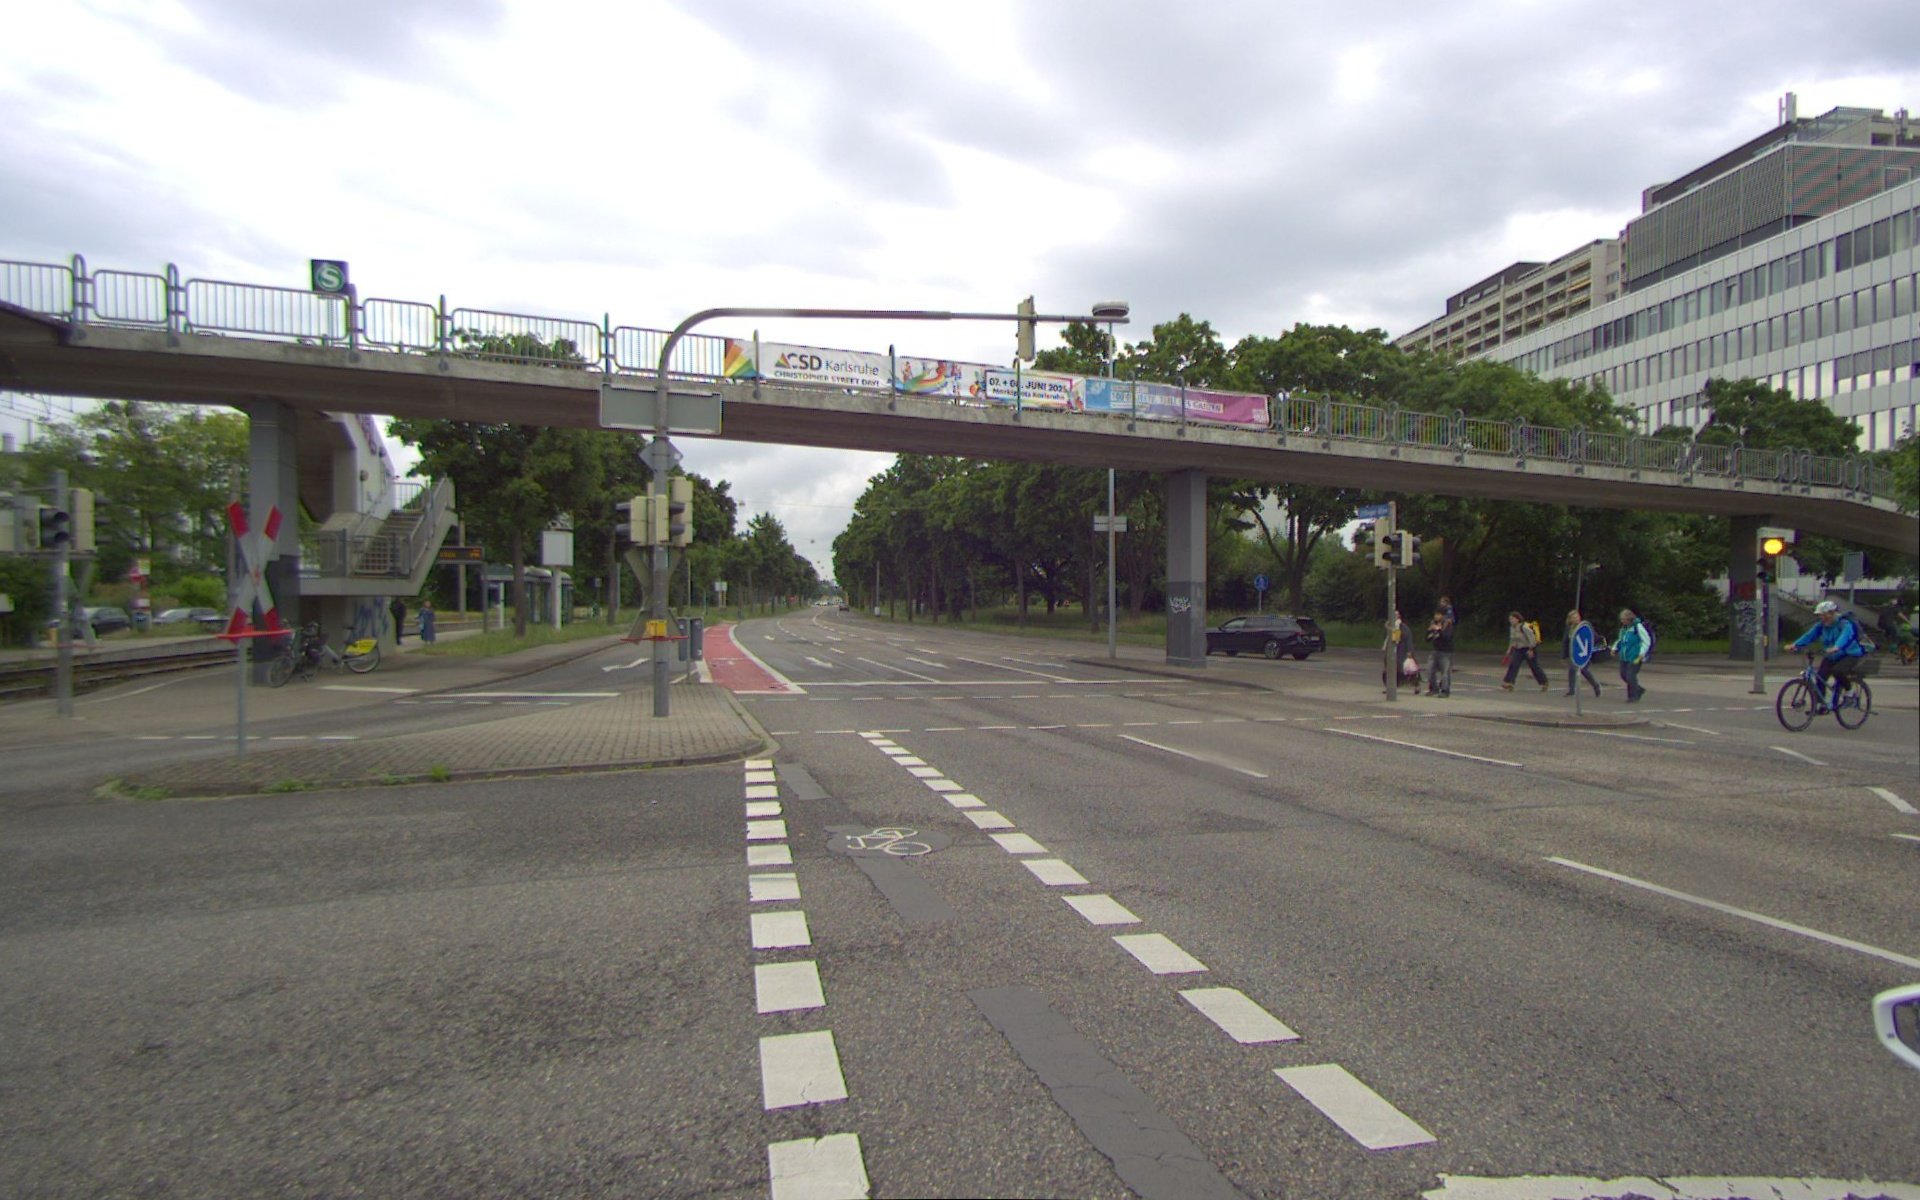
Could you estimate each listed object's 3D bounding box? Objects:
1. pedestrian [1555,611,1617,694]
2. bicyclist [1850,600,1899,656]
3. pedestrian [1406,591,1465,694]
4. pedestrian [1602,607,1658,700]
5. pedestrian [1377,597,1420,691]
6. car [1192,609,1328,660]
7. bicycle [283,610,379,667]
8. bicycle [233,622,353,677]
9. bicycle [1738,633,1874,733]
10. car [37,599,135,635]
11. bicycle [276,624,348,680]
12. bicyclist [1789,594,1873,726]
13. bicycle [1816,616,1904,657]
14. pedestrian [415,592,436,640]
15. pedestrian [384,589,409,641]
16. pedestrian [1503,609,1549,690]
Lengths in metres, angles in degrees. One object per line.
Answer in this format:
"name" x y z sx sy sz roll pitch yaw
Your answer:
"pedestrian" 11.887 0.978 19.099 0.399 1.531 0.912 0 0 -32
"bicyclist" 31.654 0.945 34.772 1.110 1.918 0.855 0 1 -20
"pedestrian" 8.681 0.762 18.328 0.793 1.828 0.633 0 0 -31
"pedestrian" 12.026 0.942 18.041 0.481 1.626 0.684 0 0 -26
"pedestrian" 8.200 0.805 18.792 0.401 1.714 0.614 0 1 -35
"car" 10.066 1.115 34.015 1.655 1.528 4.355 0 0 -35
"bicycle" -12.633 0.753 20.212 0.346 1.109 1.607 1 0 41
"bicycle" -12.242 0.877 18.551 0.547 0.900 2.407 1 0 2
"bicycle" 11.716 1.115 13.899 2.080 1.284 0.541 0 0 -23
"car" -40.413 0.760 46.587 1.639 1.581 3.992 0 0 -11
"bicycle" -12.045 0.941 18.729 0.367 0.934 2.033 1 0 -10
"bicyclist" 12.158 0.814 14.031 0.637 1.792 0.643 0 0 -20
"bicycle" 30.867 1.233 34.452 3.180 1.333 0.855 0 1 -20
"pedestrian" -17.544 0.521 32.979 0.552 1.585 0.333 0 0 -22
"pedestrian" -18.367 0.474 32.753 0.592 1.664 0.661 0 0 -17
"pedestrian" 11.512 0.984 20.423 0.775 1.600 0.574 0 0 -40
